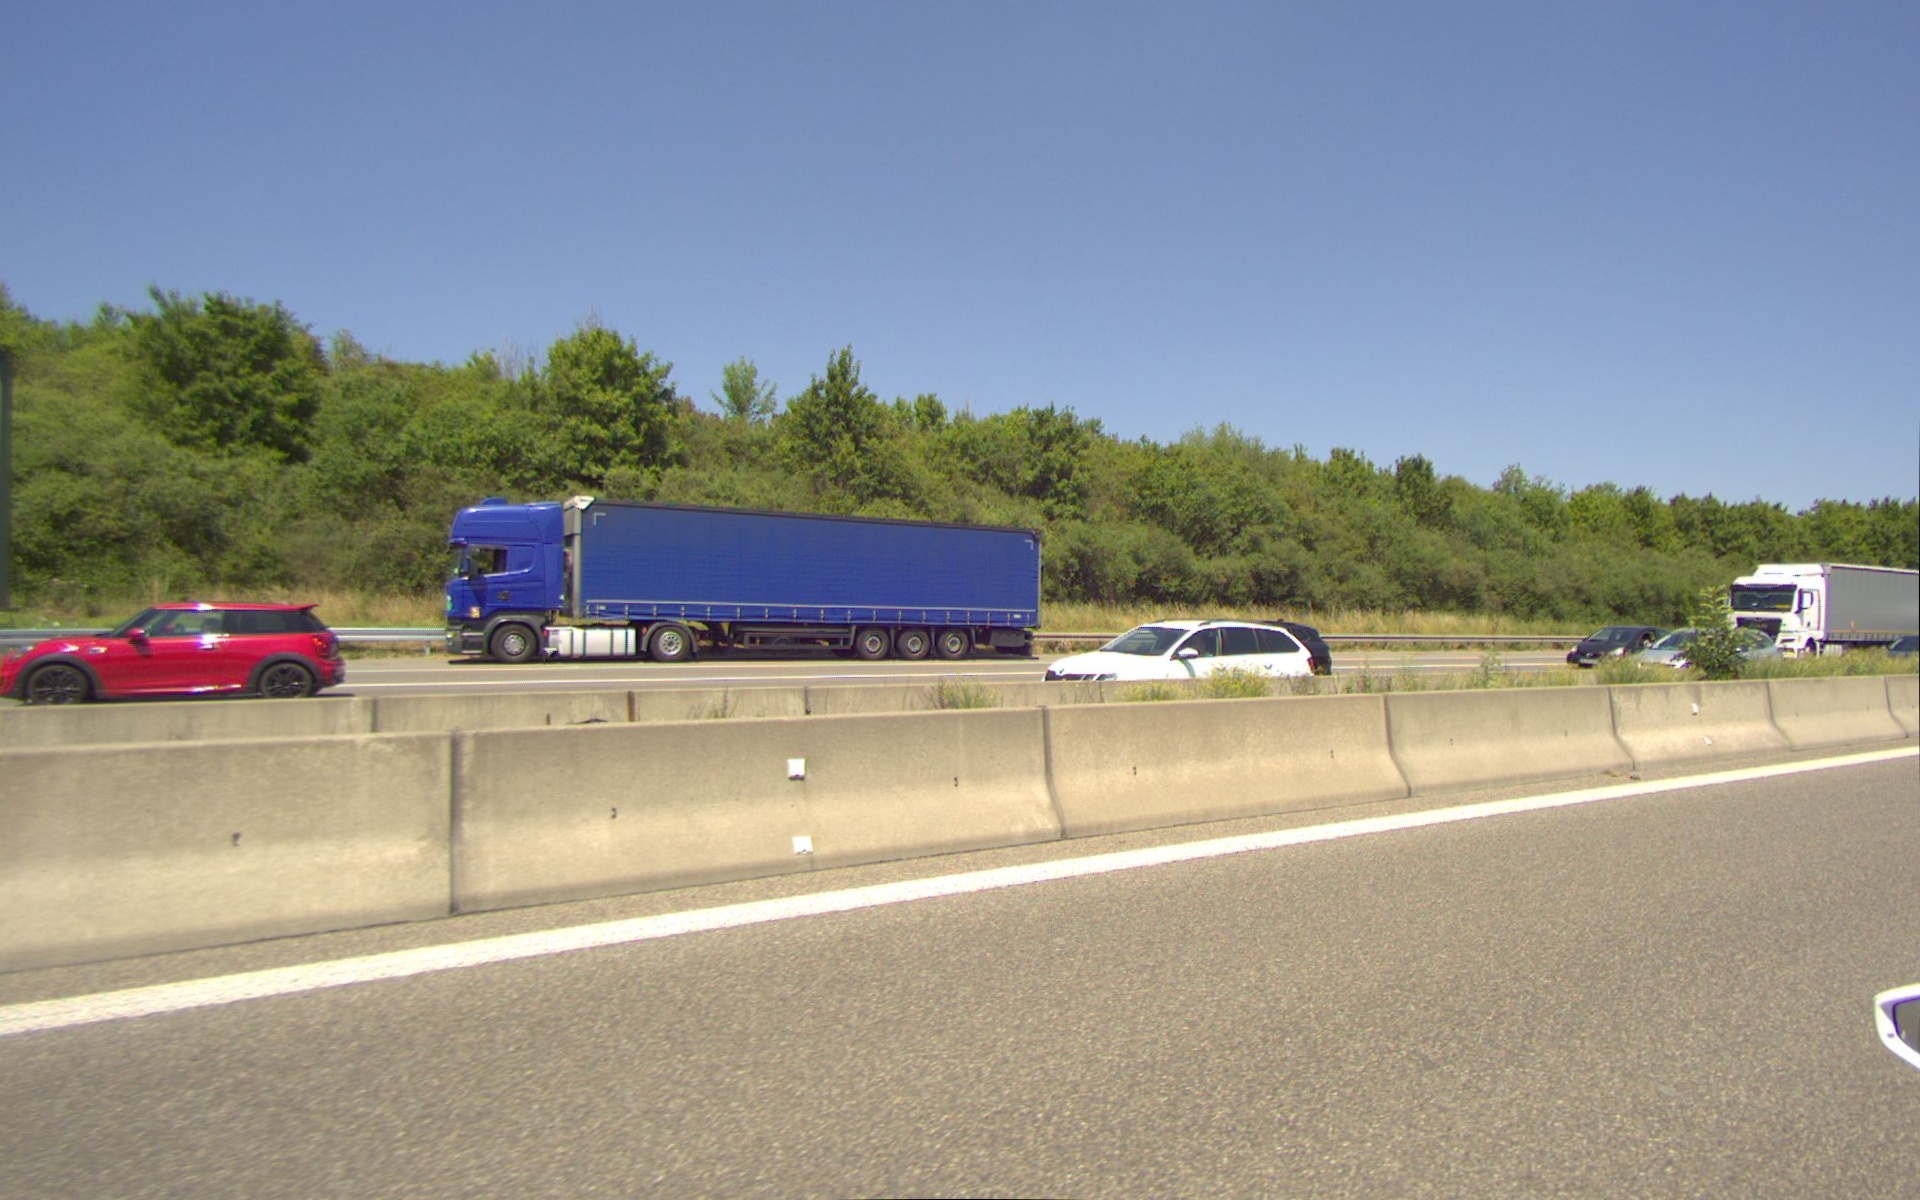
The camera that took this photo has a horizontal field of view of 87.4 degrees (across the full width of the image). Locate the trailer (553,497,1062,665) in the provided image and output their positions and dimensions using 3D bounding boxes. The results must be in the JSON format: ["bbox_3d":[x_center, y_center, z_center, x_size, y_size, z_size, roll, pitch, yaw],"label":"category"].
[{"bbox_3d":[-3.851,-0.364,28.897,14.315,4.024,3.067,1,0,-29],"label":"trailer"}]

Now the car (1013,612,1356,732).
[{"bbox_3d":[3.456,0.995,15.118,5.092,1.540,1.984,2,-1,-31],"label":"car"}]

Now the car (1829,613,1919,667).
[{"bbox_3d":[28.558,1.203,30.576,4.258,1.540,1.984,2,-1,-31],"label":"car"}]

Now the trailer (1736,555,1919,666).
[{"bbox_3d":[40.367,0.551,45.493,13.612,4.480,3.208,1,-1,-29],"label":"trailer"}]

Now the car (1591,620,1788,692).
[{"bbox_3d":[16.786,1.242,23.060,4.737,1.464,1.984,1,-1,-31],"label":"car"}]

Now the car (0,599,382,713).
[{"bbox_3d":[-10.709,0.754,14.273,4.156,1.423,1.741,1,-1,-26],"label":"car"}]

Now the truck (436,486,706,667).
[{"bbox_3d":[-9.862,-0.500,25.518,6.021,4.083,3.074,1,0,-30],"label":"truck"}]

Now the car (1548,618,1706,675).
[{"bbox_3d":[19.465,1.342,29.325,4.250,1.540,1.987,1,-1,-26],"label":"car"}]

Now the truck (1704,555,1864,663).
[{"bbox_3d":[34.558,0.414,42.120,6.108,4.187,3.185,1,-1,-29],"label":"truck"}]
